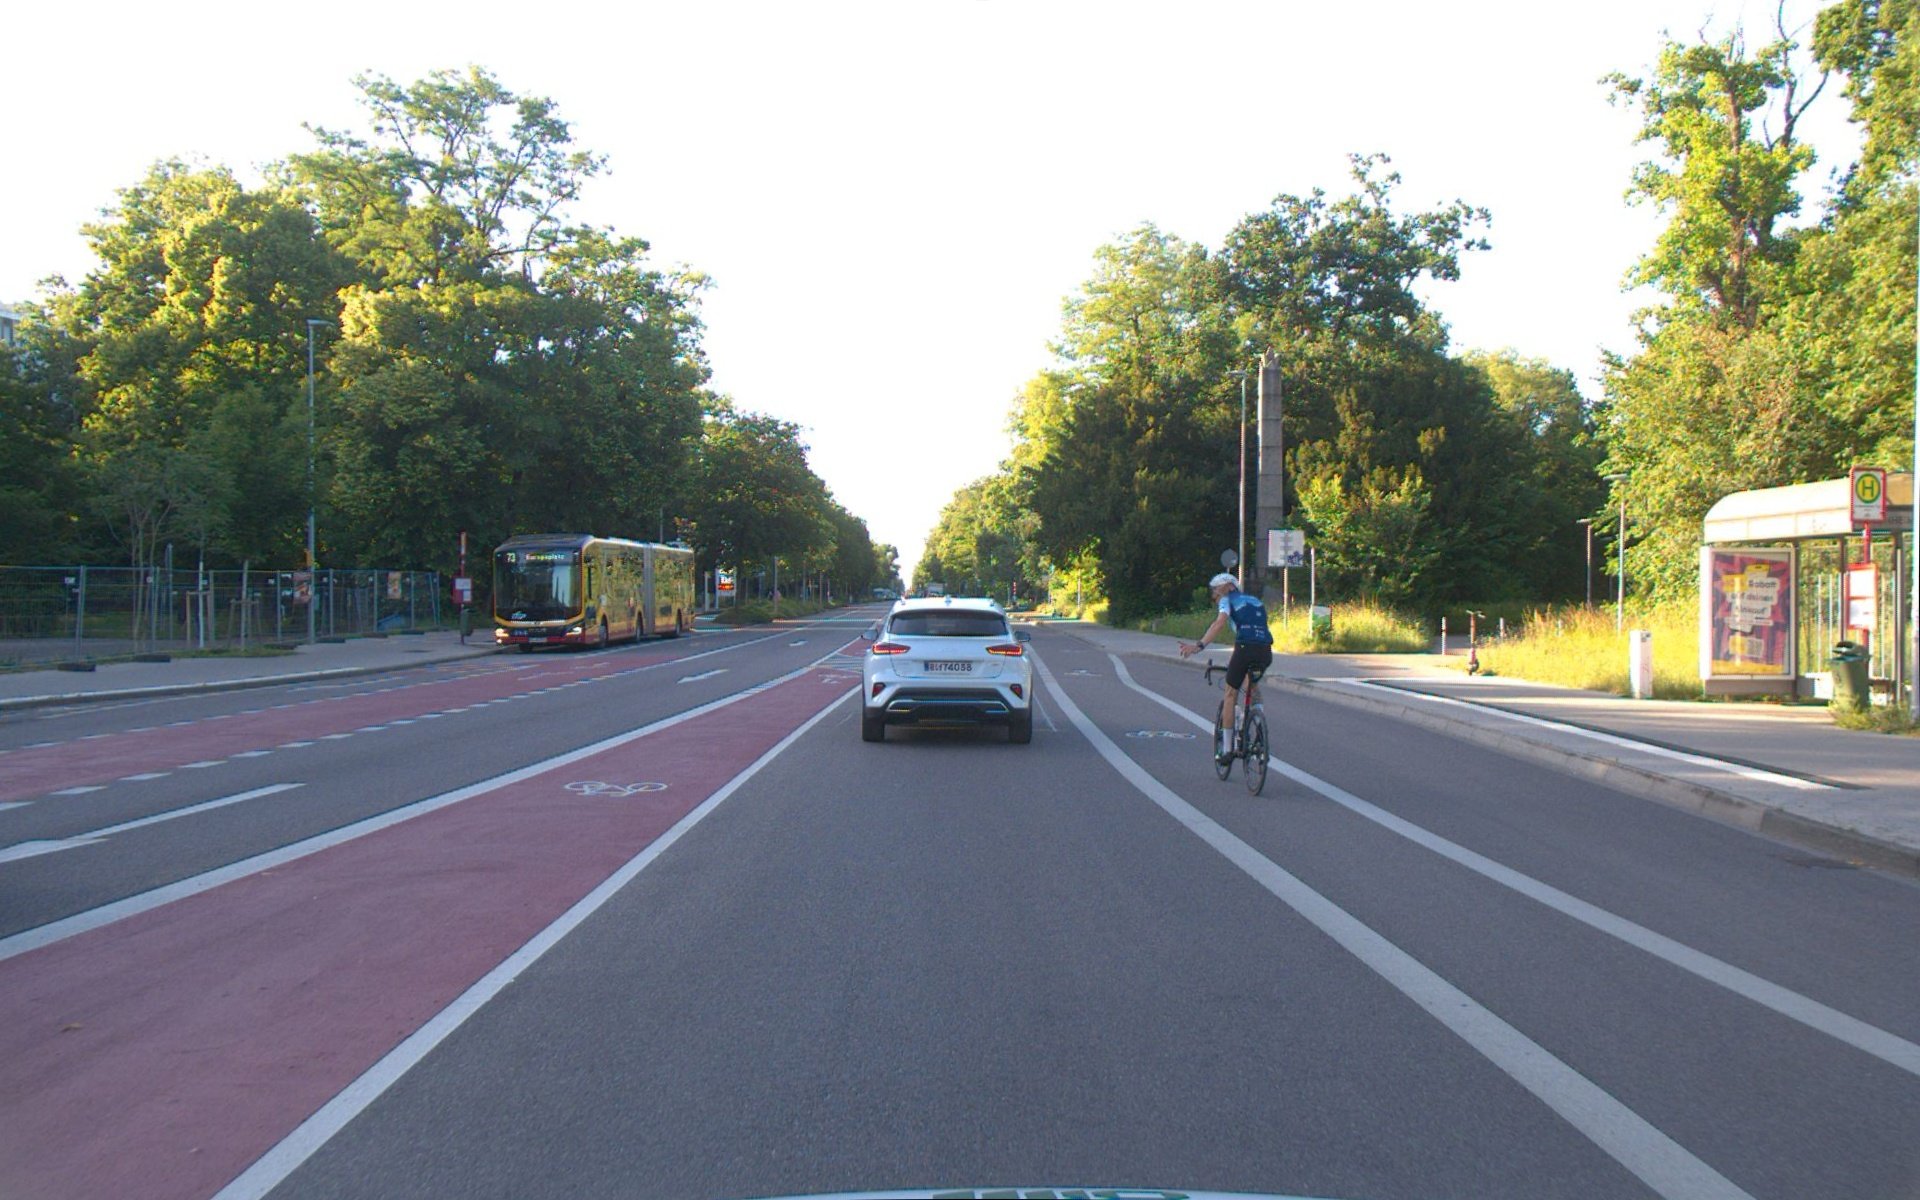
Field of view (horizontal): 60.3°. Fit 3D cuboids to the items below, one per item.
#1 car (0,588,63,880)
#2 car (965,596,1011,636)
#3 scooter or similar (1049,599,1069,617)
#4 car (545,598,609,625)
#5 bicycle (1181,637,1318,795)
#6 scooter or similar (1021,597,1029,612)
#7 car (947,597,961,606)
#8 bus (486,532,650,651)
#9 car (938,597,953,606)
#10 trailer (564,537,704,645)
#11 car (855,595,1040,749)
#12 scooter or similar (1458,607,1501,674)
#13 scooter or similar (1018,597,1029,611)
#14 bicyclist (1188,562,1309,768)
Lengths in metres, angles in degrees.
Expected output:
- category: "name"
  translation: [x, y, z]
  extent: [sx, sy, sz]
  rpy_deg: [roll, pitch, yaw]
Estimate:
- category: "car"
  translation: [-5.626, 0.695, 6.458]
  extent: [1.675, 1.446, 4.555]
  rpy_deg: [-2, 0, 1]
- category: "car"
  translation: [1.056, 0.581, 61.144]
  extent: [1.641, 1.442, 3.575]
  rpy_deg: [0, 0, 2]
- category: "scooter or similar"
  translation: [6.955, 0.565, 115.931]
  extent: [0.526, 1.272, 1.530]
  rpy_deg: [0, 0, 45]
- category: "car"
  translation: [-21.573, 0.648, 93.283]
  extent: [1.528, 1.424, 3.484]
  rpy_deg: [-2, -1, 30]
- category: "bicycle"
  translation: [2.345, 0.901, 13.640]
  extent: [0.872, 1.114, 2.137]
  rpy_deg: [2, 0, 4]
- category: "scooter or similar"
  translation: [6.301, 0.415, 159.540]
  extent: [0.668, 1.448, 1.681]
  rpy_deg: [0, 0, -2]
- category: "car"
  translation: [-0.857, 0.249, 241.791]
  extent: [1.953, 1.350, 3.998]
  rpy_deg: [0, 0, -2]
- category: "bus"
  translation: [-11.504, -0.239, 49.468]
  extent: [2.782, 3.252, 8.600]
  rpy_deg: [0, 0, 1]
- category: "car"
  translation: [-2.276, 0.206, 257.453]
  extent: [1.955, 1.350, 3.996]
  rpy_deg: [0, 0, -5]
- category: "trailer"
  translation: [-11.326, -0.273, 58.483]
  extent: [2.796, 3.414, 9.363]
  rpy_deg: [2, 0, 1]
- category: "car"
  translation: [-0.237, 0.717, 18.407]
  extent: [1.727, 1.485, 3.814]
  rpy_deg: [2, 0, -5]
- category: "scooter or similar"
  translation: [10.096, 0.771, 32.125]
  extent: [0.707, 1.269, 1.328]
  rpy_deg: [0, 0, 22]
- category: "scooter or similar"
  translation: [6.276, 0.401, 163.491]
  extent: [0.670, 1.448, 1.675]
  rpy_deg: [0, 0, -15]
- category: "bicyclist"
  translation: [2.334, 0.507, 13.475]
  extent: [0.842, 1.594, 0.881]
  rpy_deg: [2, 0, 4]
